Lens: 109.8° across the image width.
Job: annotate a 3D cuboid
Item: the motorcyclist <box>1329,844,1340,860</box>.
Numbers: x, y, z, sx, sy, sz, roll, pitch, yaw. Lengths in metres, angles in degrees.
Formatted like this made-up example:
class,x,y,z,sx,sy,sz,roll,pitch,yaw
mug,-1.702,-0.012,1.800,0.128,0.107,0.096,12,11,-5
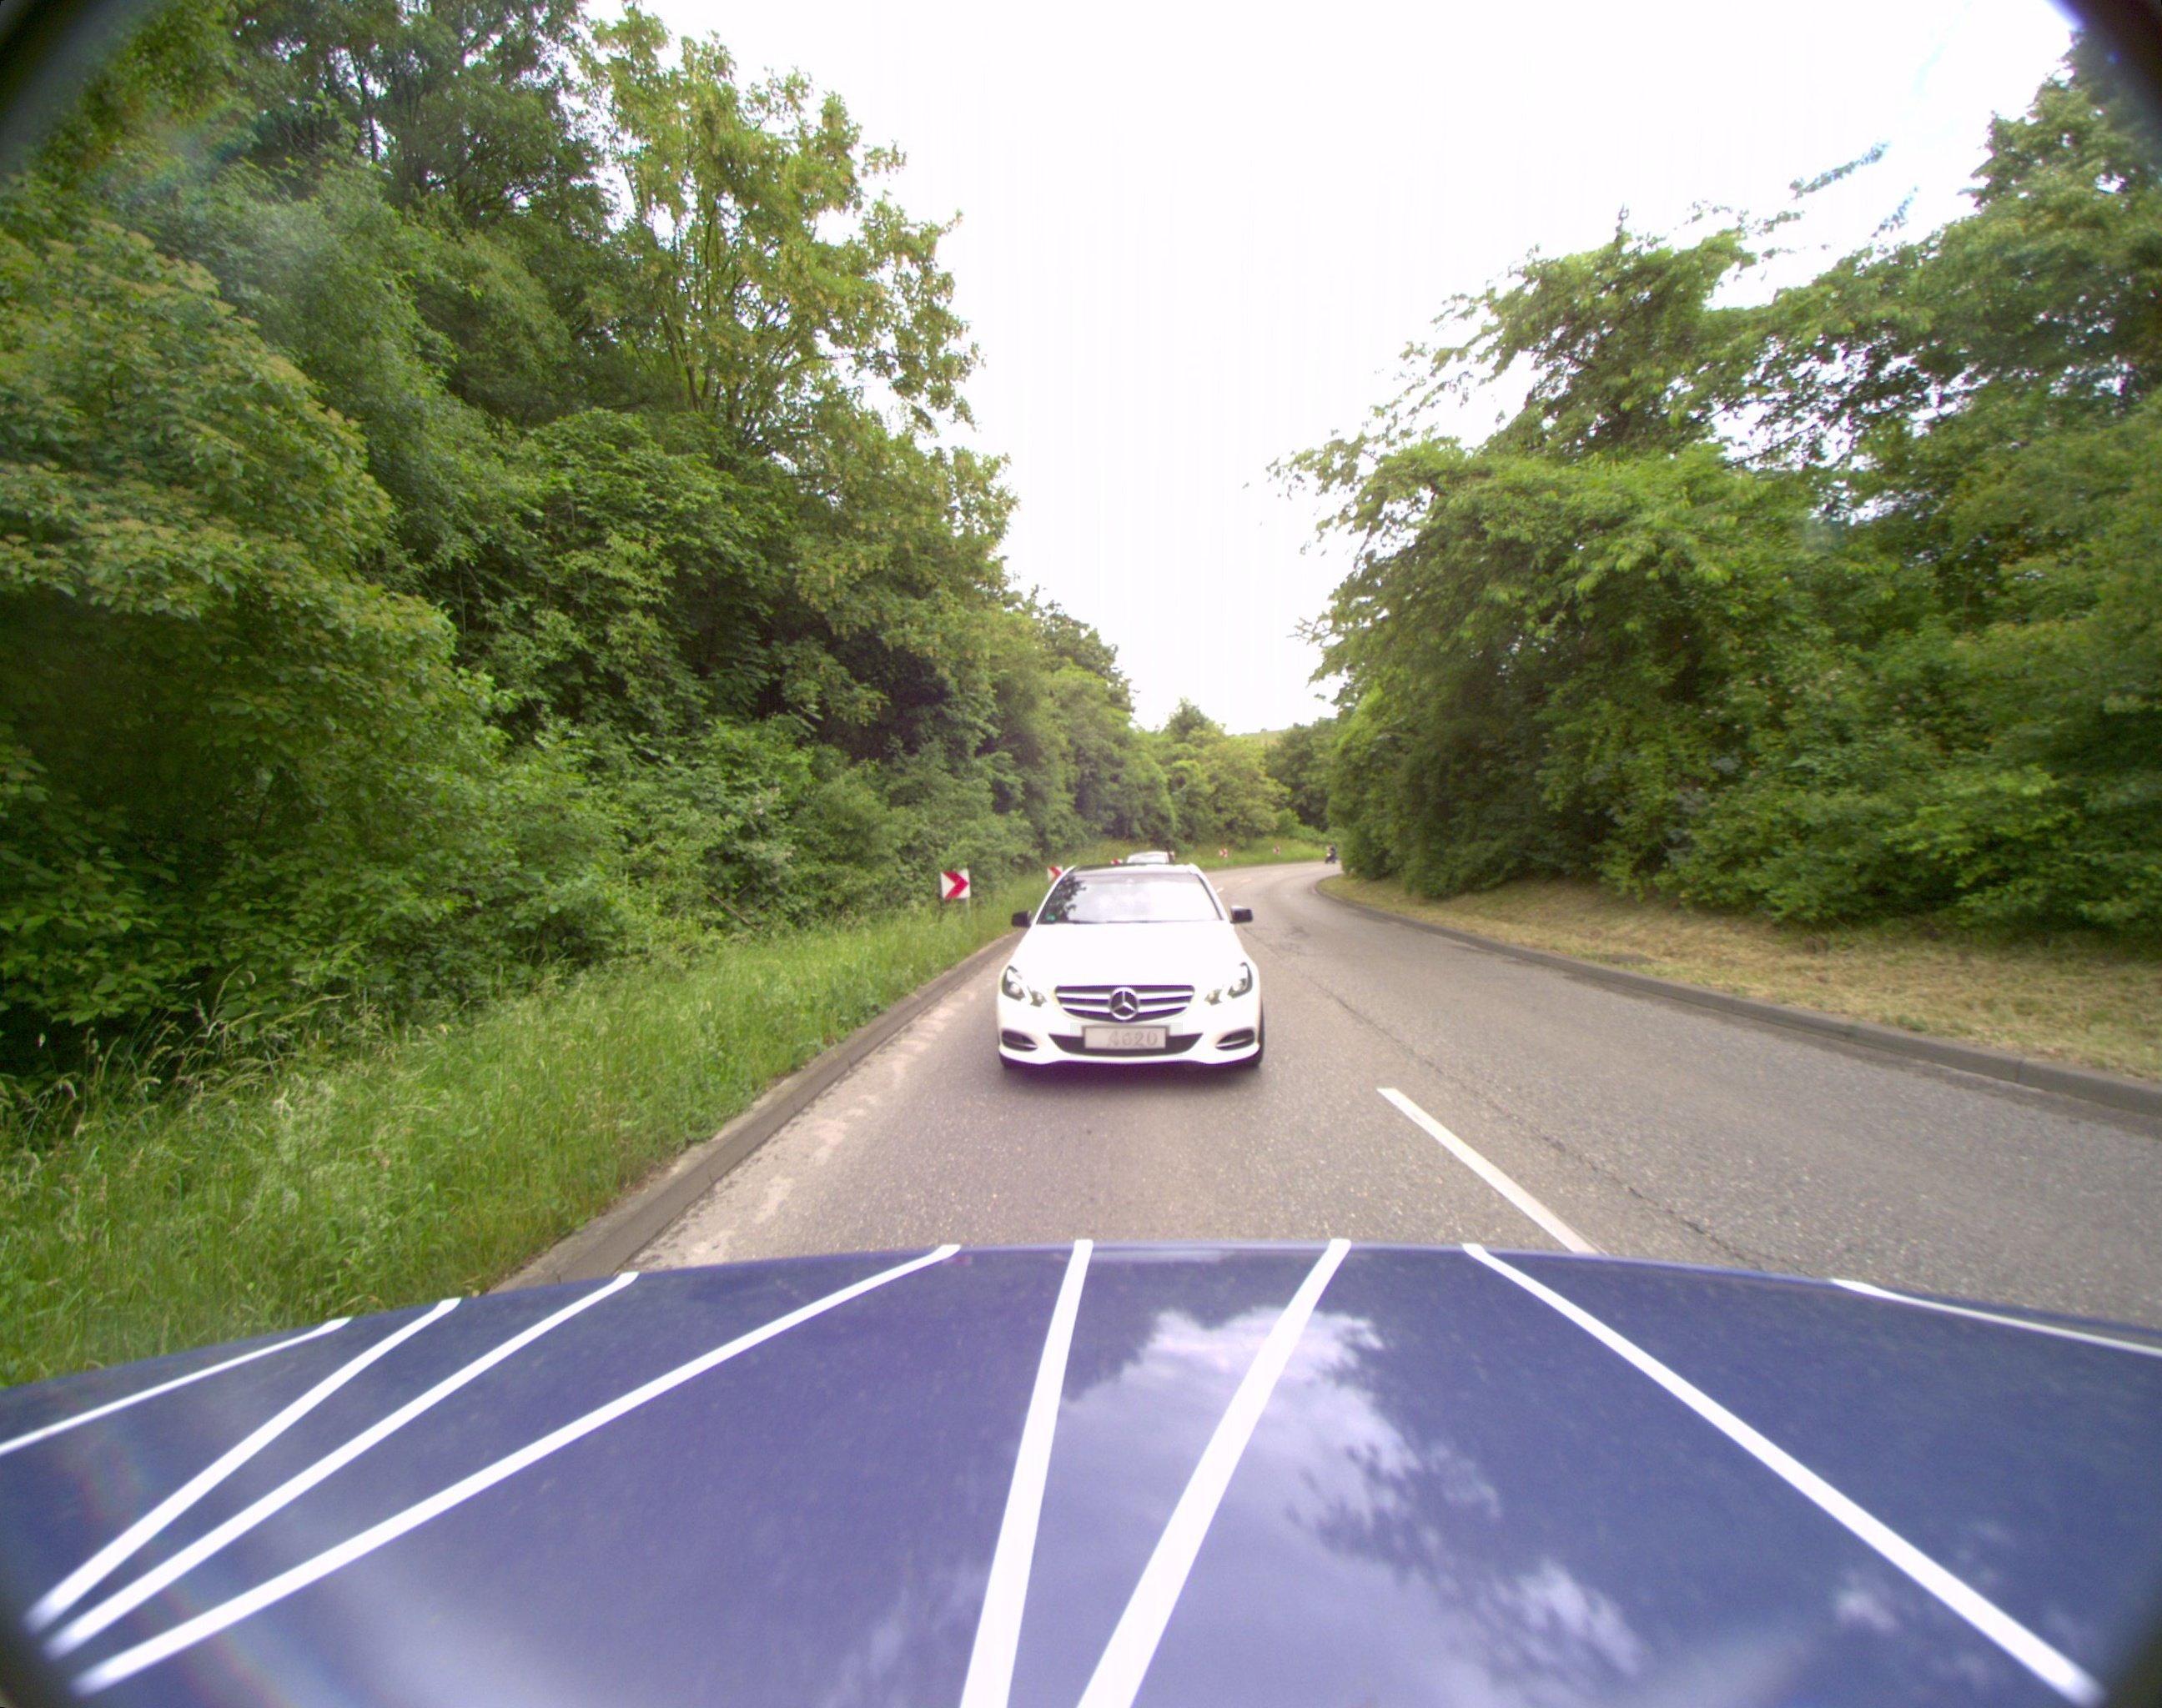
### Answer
class,x,y,z,sx,sy,sz,roll,pitch,yaw
motorcyclist,20.705,-0.141,62.167,0.565,1.288,0.708,4,4,43

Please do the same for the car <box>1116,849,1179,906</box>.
class,x,y,z,sx,sy,sz,roll,pitch,yaw
car,2.215,0.686,24.442,1.552,1.635,3.743,1,1,12

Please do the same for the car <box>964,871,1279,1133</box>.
class,x,y,z,sx,sy,sz,roll,pitch,yaw
car,0.429,0.934,6.726,1.866,1.423,4.357,-1,0,5

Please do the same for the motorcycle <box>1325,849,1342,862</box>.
class,x,y,z,sx,sy,sz,roll,pitch,yaw
motorcycle,20.648,0.129,62.122,0.676,1.006,1.678,4,4,43
